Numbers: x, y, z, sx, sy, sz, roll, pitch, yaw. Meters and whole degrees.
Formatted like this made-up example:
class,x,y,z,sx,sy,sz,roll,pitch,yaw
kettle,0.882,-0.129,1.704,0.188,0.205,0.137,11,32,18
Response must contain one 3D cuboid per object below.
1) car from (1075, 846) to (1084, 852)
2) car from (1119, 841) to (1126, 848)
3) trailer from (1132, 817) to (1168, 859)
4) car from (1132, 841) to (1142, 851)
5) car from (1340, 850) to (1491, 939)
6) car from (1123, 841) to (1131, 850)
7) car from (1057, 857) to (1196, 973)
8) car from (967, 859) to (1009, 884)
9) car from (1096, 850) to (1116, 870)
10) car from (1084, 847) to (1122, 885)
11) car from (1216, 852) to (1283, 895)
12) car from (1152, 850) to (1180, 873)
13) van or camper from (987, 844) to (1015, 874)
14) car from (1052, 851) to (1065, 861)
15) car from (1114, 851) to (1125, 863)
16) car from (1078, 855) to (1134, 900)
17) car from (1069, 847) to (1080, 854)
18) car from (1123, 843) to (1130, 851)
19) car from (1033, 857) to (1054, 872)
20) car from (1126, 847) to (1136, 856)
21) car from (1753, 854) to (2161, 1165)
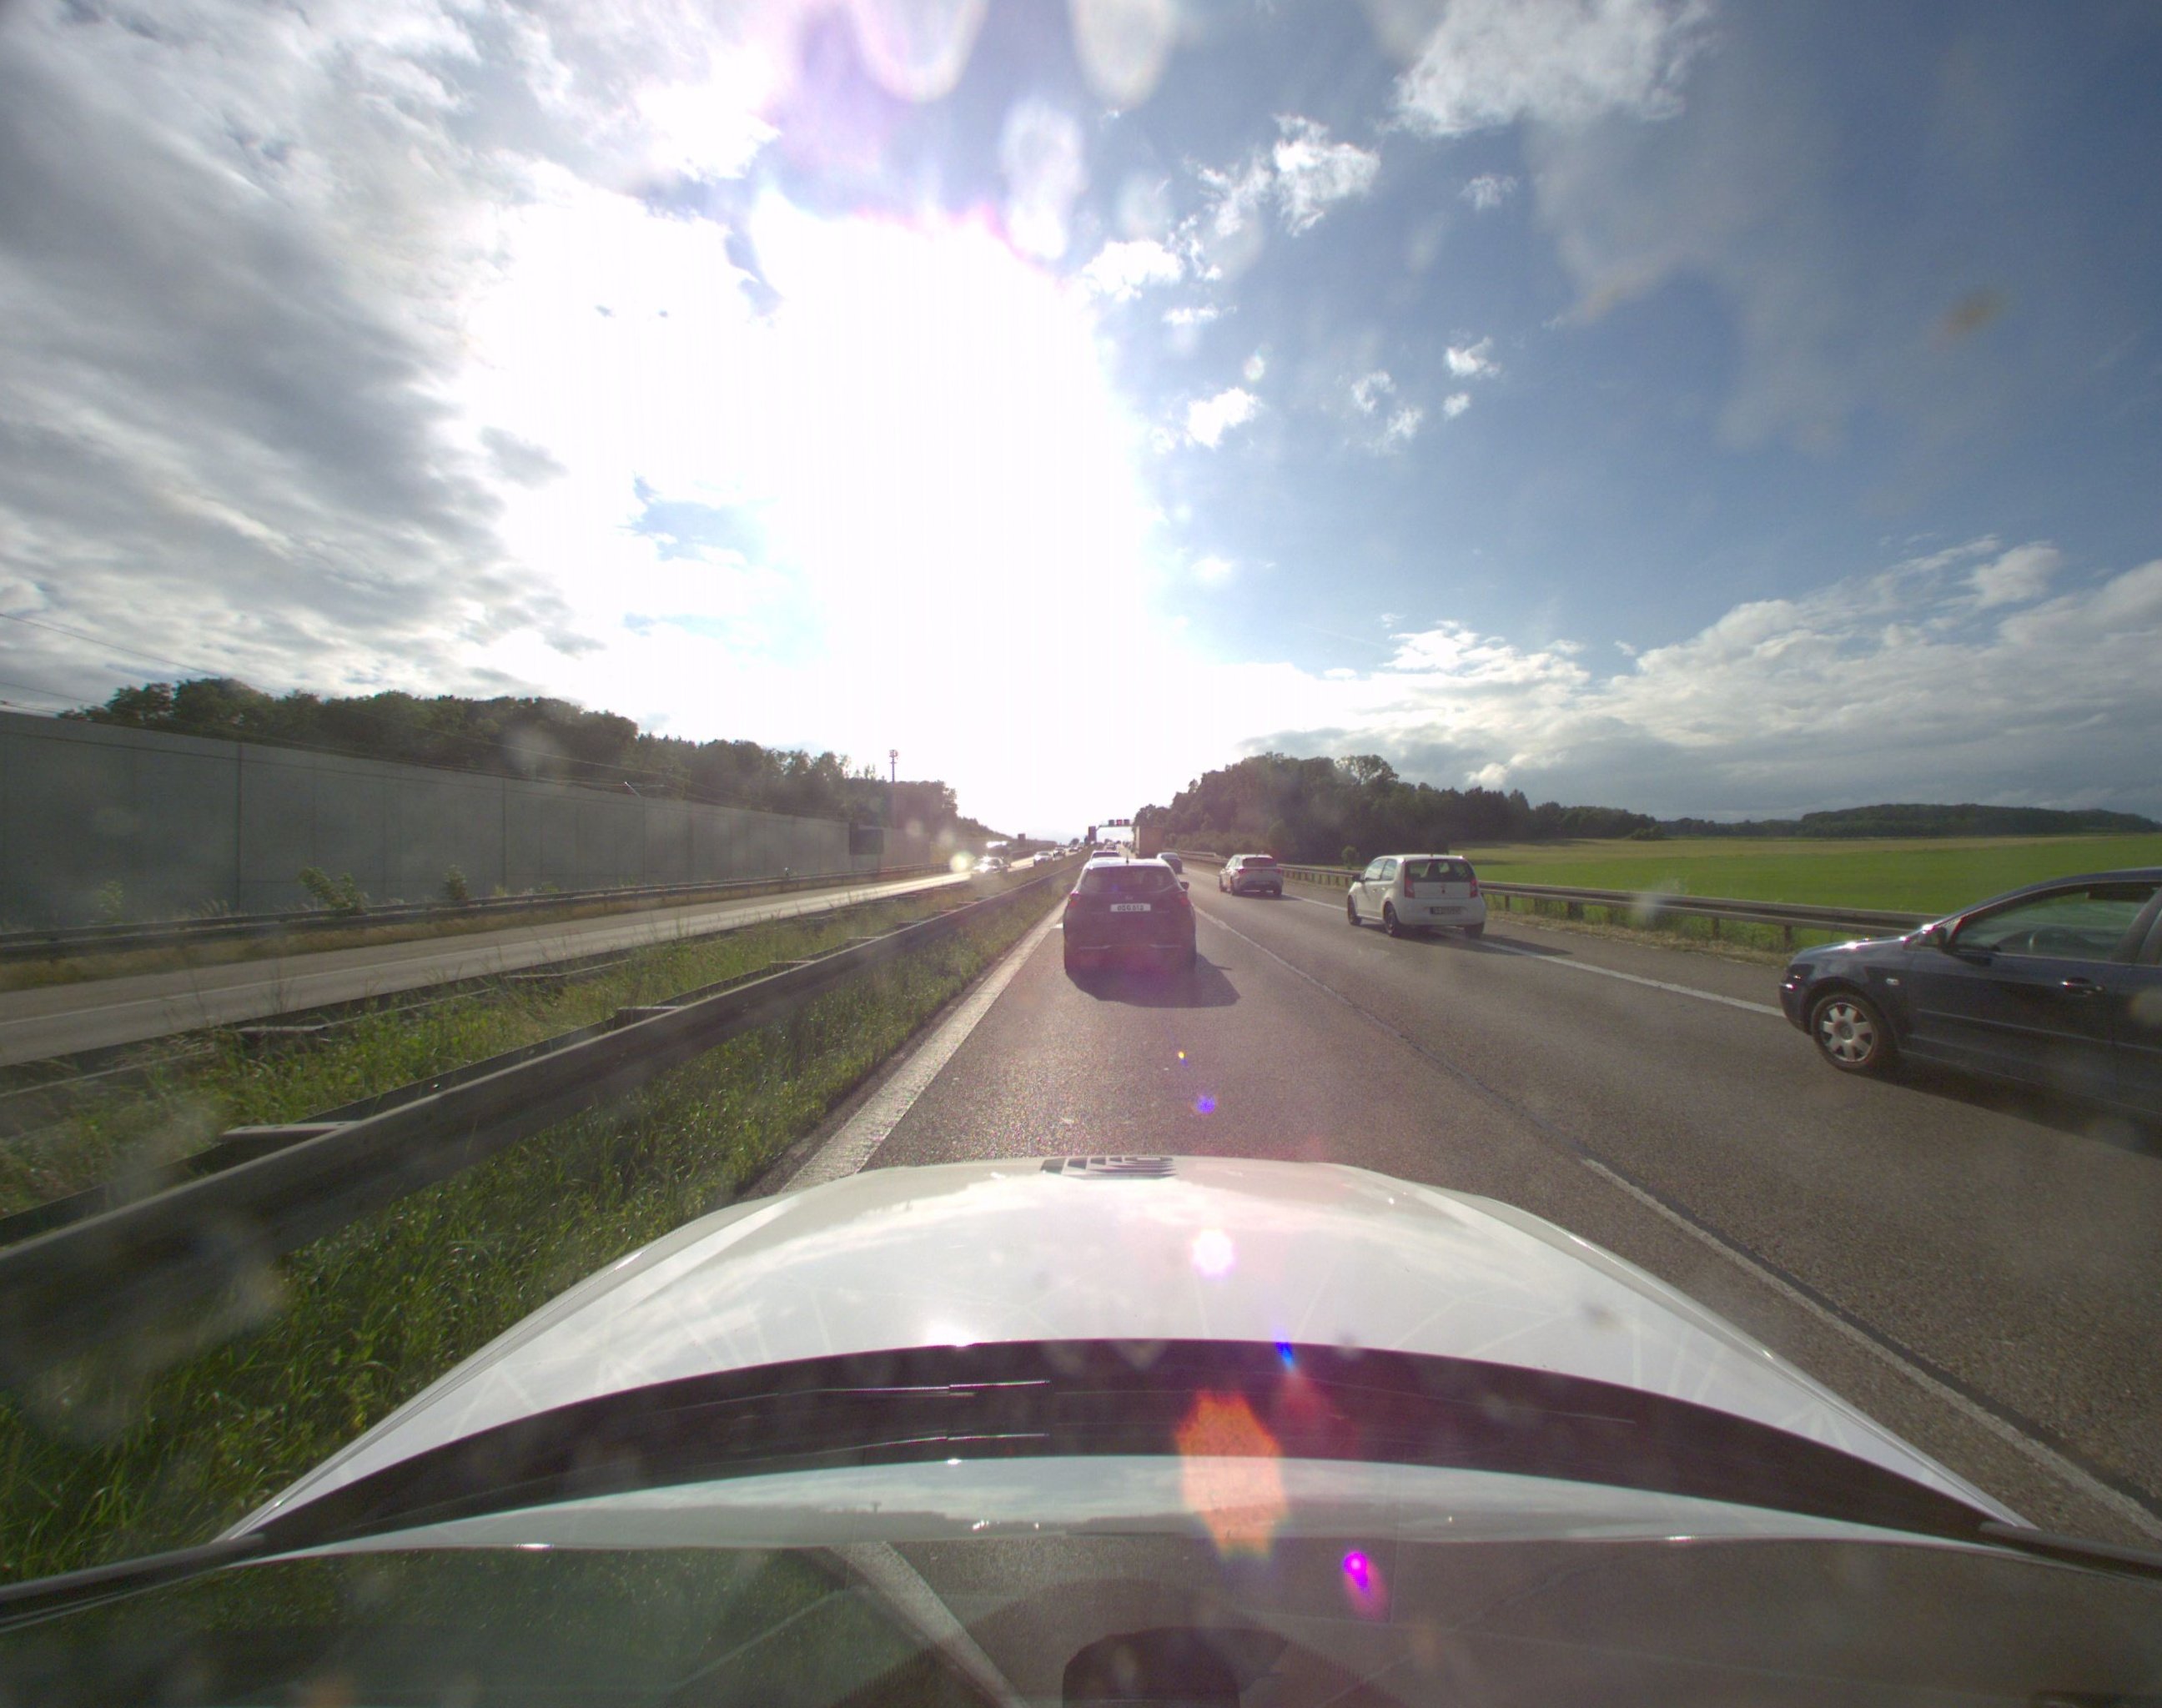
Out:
class,x,y,z,sx,sy,sz,roll,pitch,yaw
car,-0.339,-1.134,201.990,1.986,1.433,4.450,-1,-1,1
car,12.470,-2.868,246.795,1.986,2.014,4.001,-1,-1,1
trailer,7.940,-1.718,95.596,3.535,4.457,12.726,-1,-1,2
car,9.951,-1.408,145.292,1.660,1.755,3.330,-1,-1,4
car,6.271,0.686,15.637,1.543,1.495,3.378,-1,0,1
car,11.312,-2.070,201.006,1.986,2.014,4.001,-1,-1,1
car,0.674,0.783,11.799,1.702,1.426,3.381,-1,-1,4
car,-5.723,1.076,50.865,1.986,1.433,4.450,-1,-1,1
car,2.615,0.651,84.162,1.986,2.014,4.001,-1,-1,1
car,1.091,0.558,38.842,1.667,1.726,3.599,-1,-1,3
car,6.038,0.694,29.581,1.615,1.445,4.147,-1,-1,1
car,5.833,0.517,56.206,1.740,1.475,4.150,-1,-1,3
van or camper,-8.628,0.522,88.050,2.217,3.079,6.515,-1,-1,1
car,-3.560,0.337,128.322,1.847,1.433,4.450,-1,-1,1
car,6.964,0.563,148.314,1.986,2.014,4.001,-1,-1,1
car,0.862,0.732,26.506,1.667,1.367,3.599,-1,-1,3
car,-1.359,-0.679,172.733,1.986,1.433,4.450,-1,-1,1
car,12.210,-1.835,218.556,1.986,2.014,4.001,-1,-1,1
car,-4.177,1.152,90.834,1.986,1.593,4.450,-1,-1,1
car,11.006,-0.576,178.801,1.986,2.014,4.001,-1,-1,1
car,5.890,0.719,4.255,1.703,1.445,3.775,-1,-1,2
